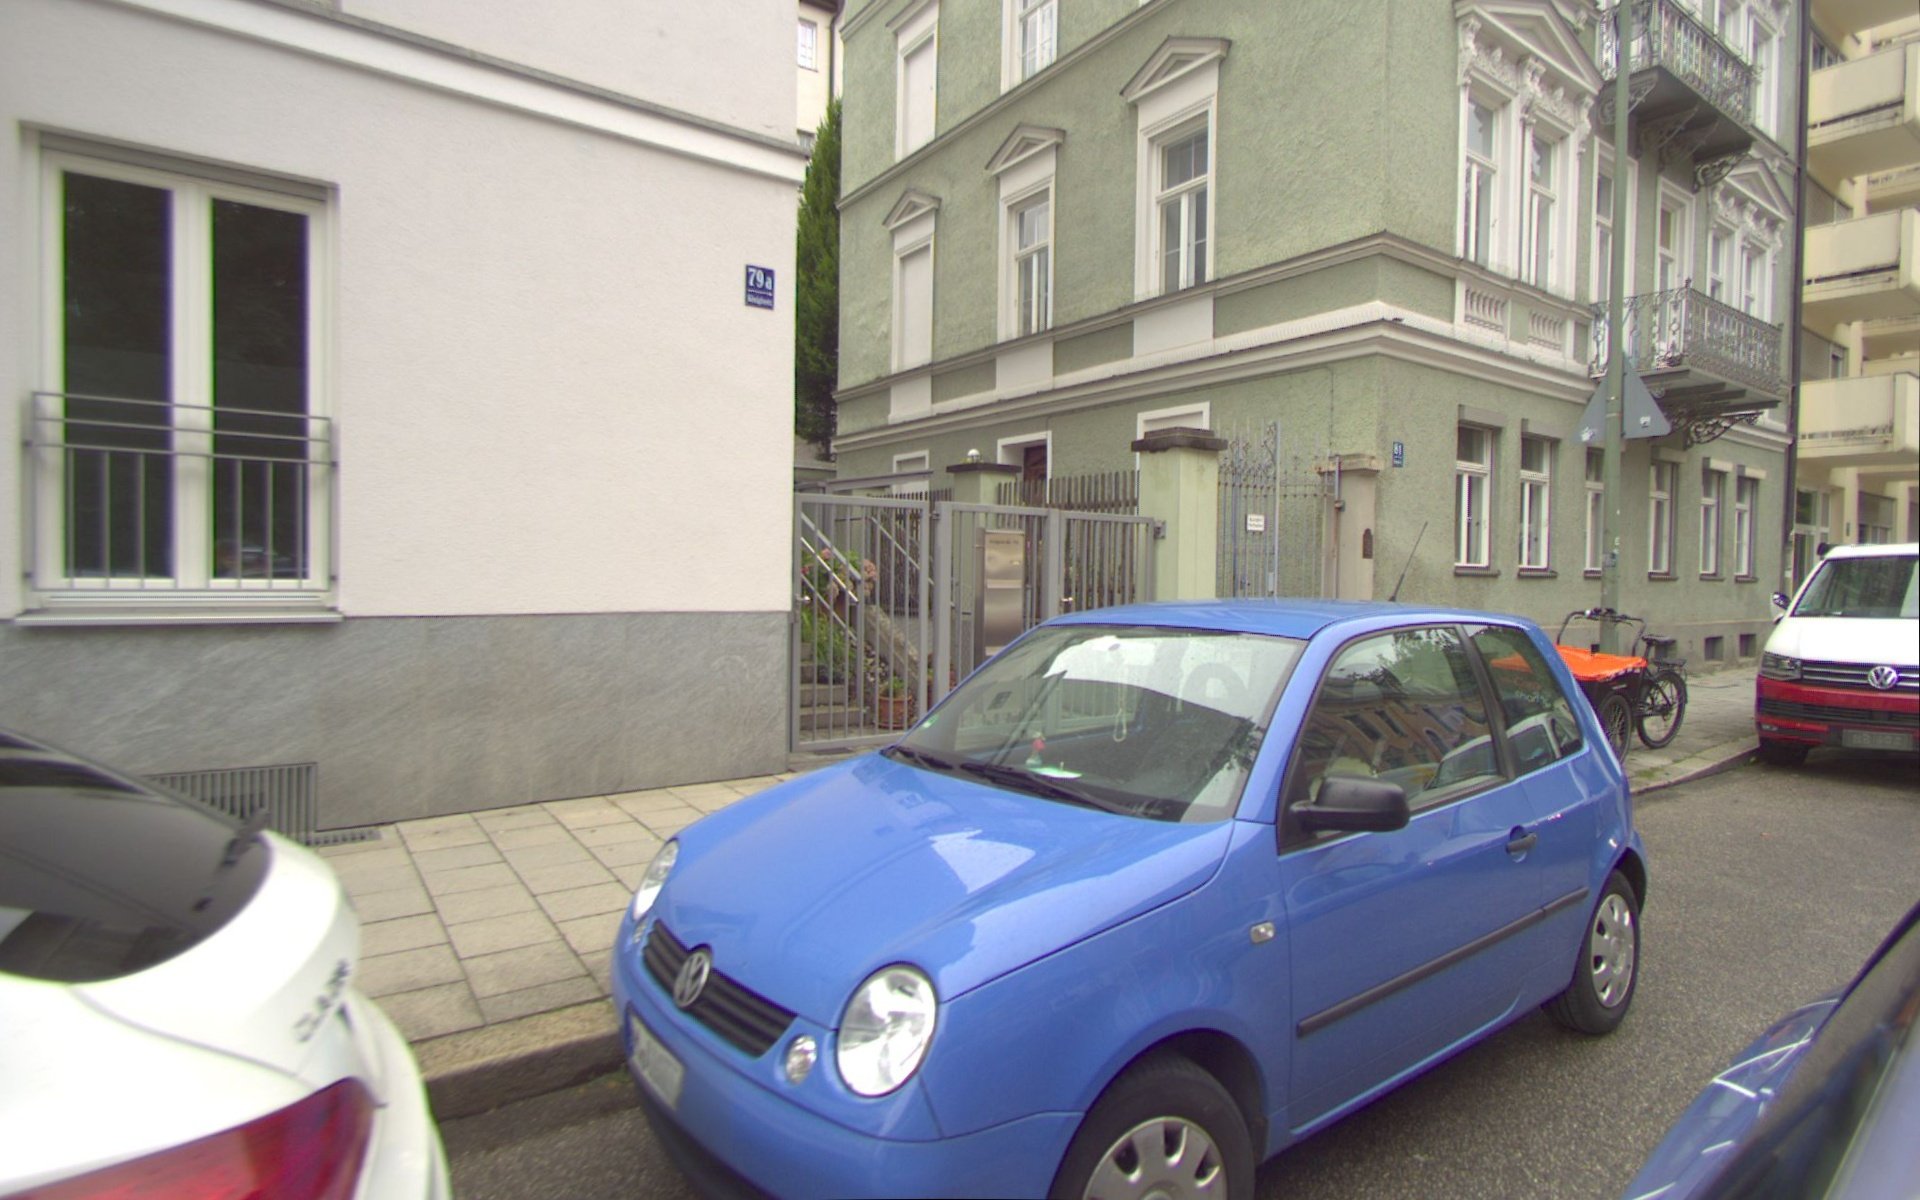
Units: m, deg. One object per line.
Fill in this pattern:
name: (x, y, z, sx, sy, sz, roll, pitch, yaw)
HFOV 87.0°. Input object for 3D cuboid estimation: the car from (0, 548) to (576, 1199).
car: (-2.535, 0.710, 0.469, 4.129, 1.458, 1.662, -1, -1, -37)

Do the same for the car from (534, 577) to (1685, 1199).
car: (0.711, 0.664, 3.188, 3.489, 1.430, 1.623, -1, 0, -38)

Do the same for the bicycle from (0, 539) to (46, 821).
bicycle: (-4.426, 0.317, 3.486, 1.801, 1.040, 0.679, -3, 3, -37)

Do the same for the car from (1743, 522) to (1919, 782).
car: (8.853, 0.380, 8.872, 4.504, 1.920, 1.859, 0, -1, -35)

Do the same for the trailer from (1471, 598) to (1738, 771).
trailer: (5.380, 0.623, 8.423, 2.121, 1.198, 0.947, 0, 5, -31)
